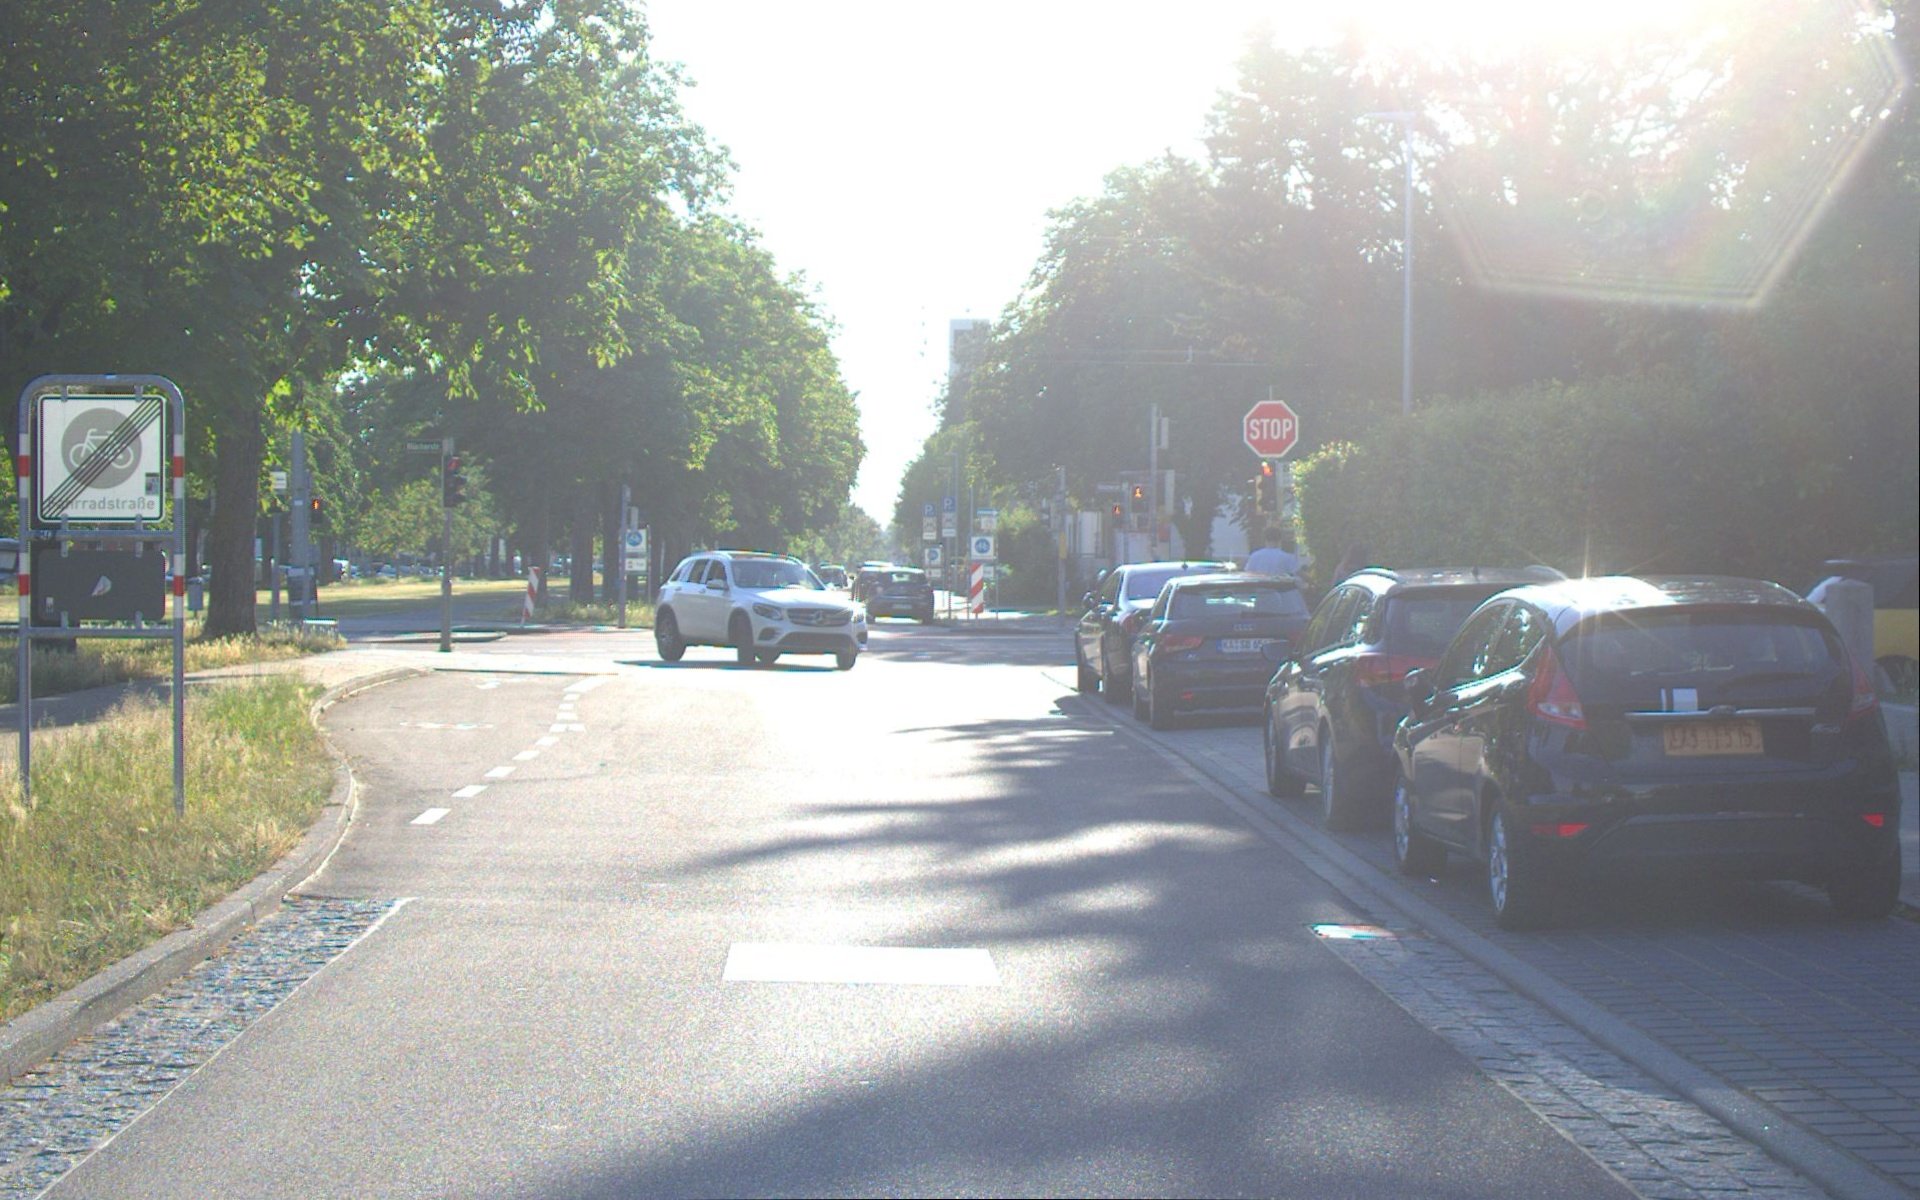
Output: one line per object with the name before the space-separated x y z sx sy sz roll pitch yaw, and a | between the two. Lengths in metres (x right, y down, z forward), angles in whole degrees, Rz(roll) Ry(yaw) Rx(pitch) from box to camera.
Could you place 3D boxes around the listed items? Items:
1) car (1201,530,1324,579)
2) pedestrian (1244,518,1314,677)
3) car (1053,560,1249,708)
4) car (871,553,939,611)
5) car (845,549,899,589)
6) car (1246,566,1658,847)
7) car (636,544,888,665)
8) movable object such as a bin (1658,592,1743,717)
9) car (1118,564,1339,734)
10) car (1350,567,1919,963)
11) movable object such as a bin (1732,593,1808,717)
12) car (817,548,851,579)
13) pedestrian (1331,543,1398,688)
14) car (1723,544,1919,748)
car | 9.703 -1.470 110.526 3.779 1.520 1.744 0 2 -1
pedestrian | 3.787 -0.038 40.847 0.670 1.859 0.882 1 1 -4
car | 2.086 0.334 38.815 1.859 1.537 4.873 0 1 -1
car | -1.410 -0.488 89.274 1.641 1.446 3.307 0 1 1
car | -3.127 -1.123 123.247 1.845 1.389 3.829 1 1 0
car | 2.851 0.560 20.819 1.746 1.469 4.256 0 1 -2
car | -3.002 0.038 51.212 1.891 1.671 4.425 0 1 -31
movable object such as a bin | 6.290 0.460 29.204 0.507 1.039 0.659 0 1 -7
car | 2.467 0.414 32.429 1.641 1.423 3.937 -2 1 -1
car | 2.955 0.637 15.683 1.718 1.466 3.984 -2 1 -2
movable object such as a bin | 6.858 0.462 29.114 0.507 1.039 0.417 0 1 -7
car | -8.264 -2.389 226.005 2.134 2.007 3.902 0 1 0
pedestrian | 4.807 0.183 40.842 0.669 1.702 0.623 1 1 -4
car | 8.027 0.305 26.962 3.633 1.491 1.781 -2 1 -1
